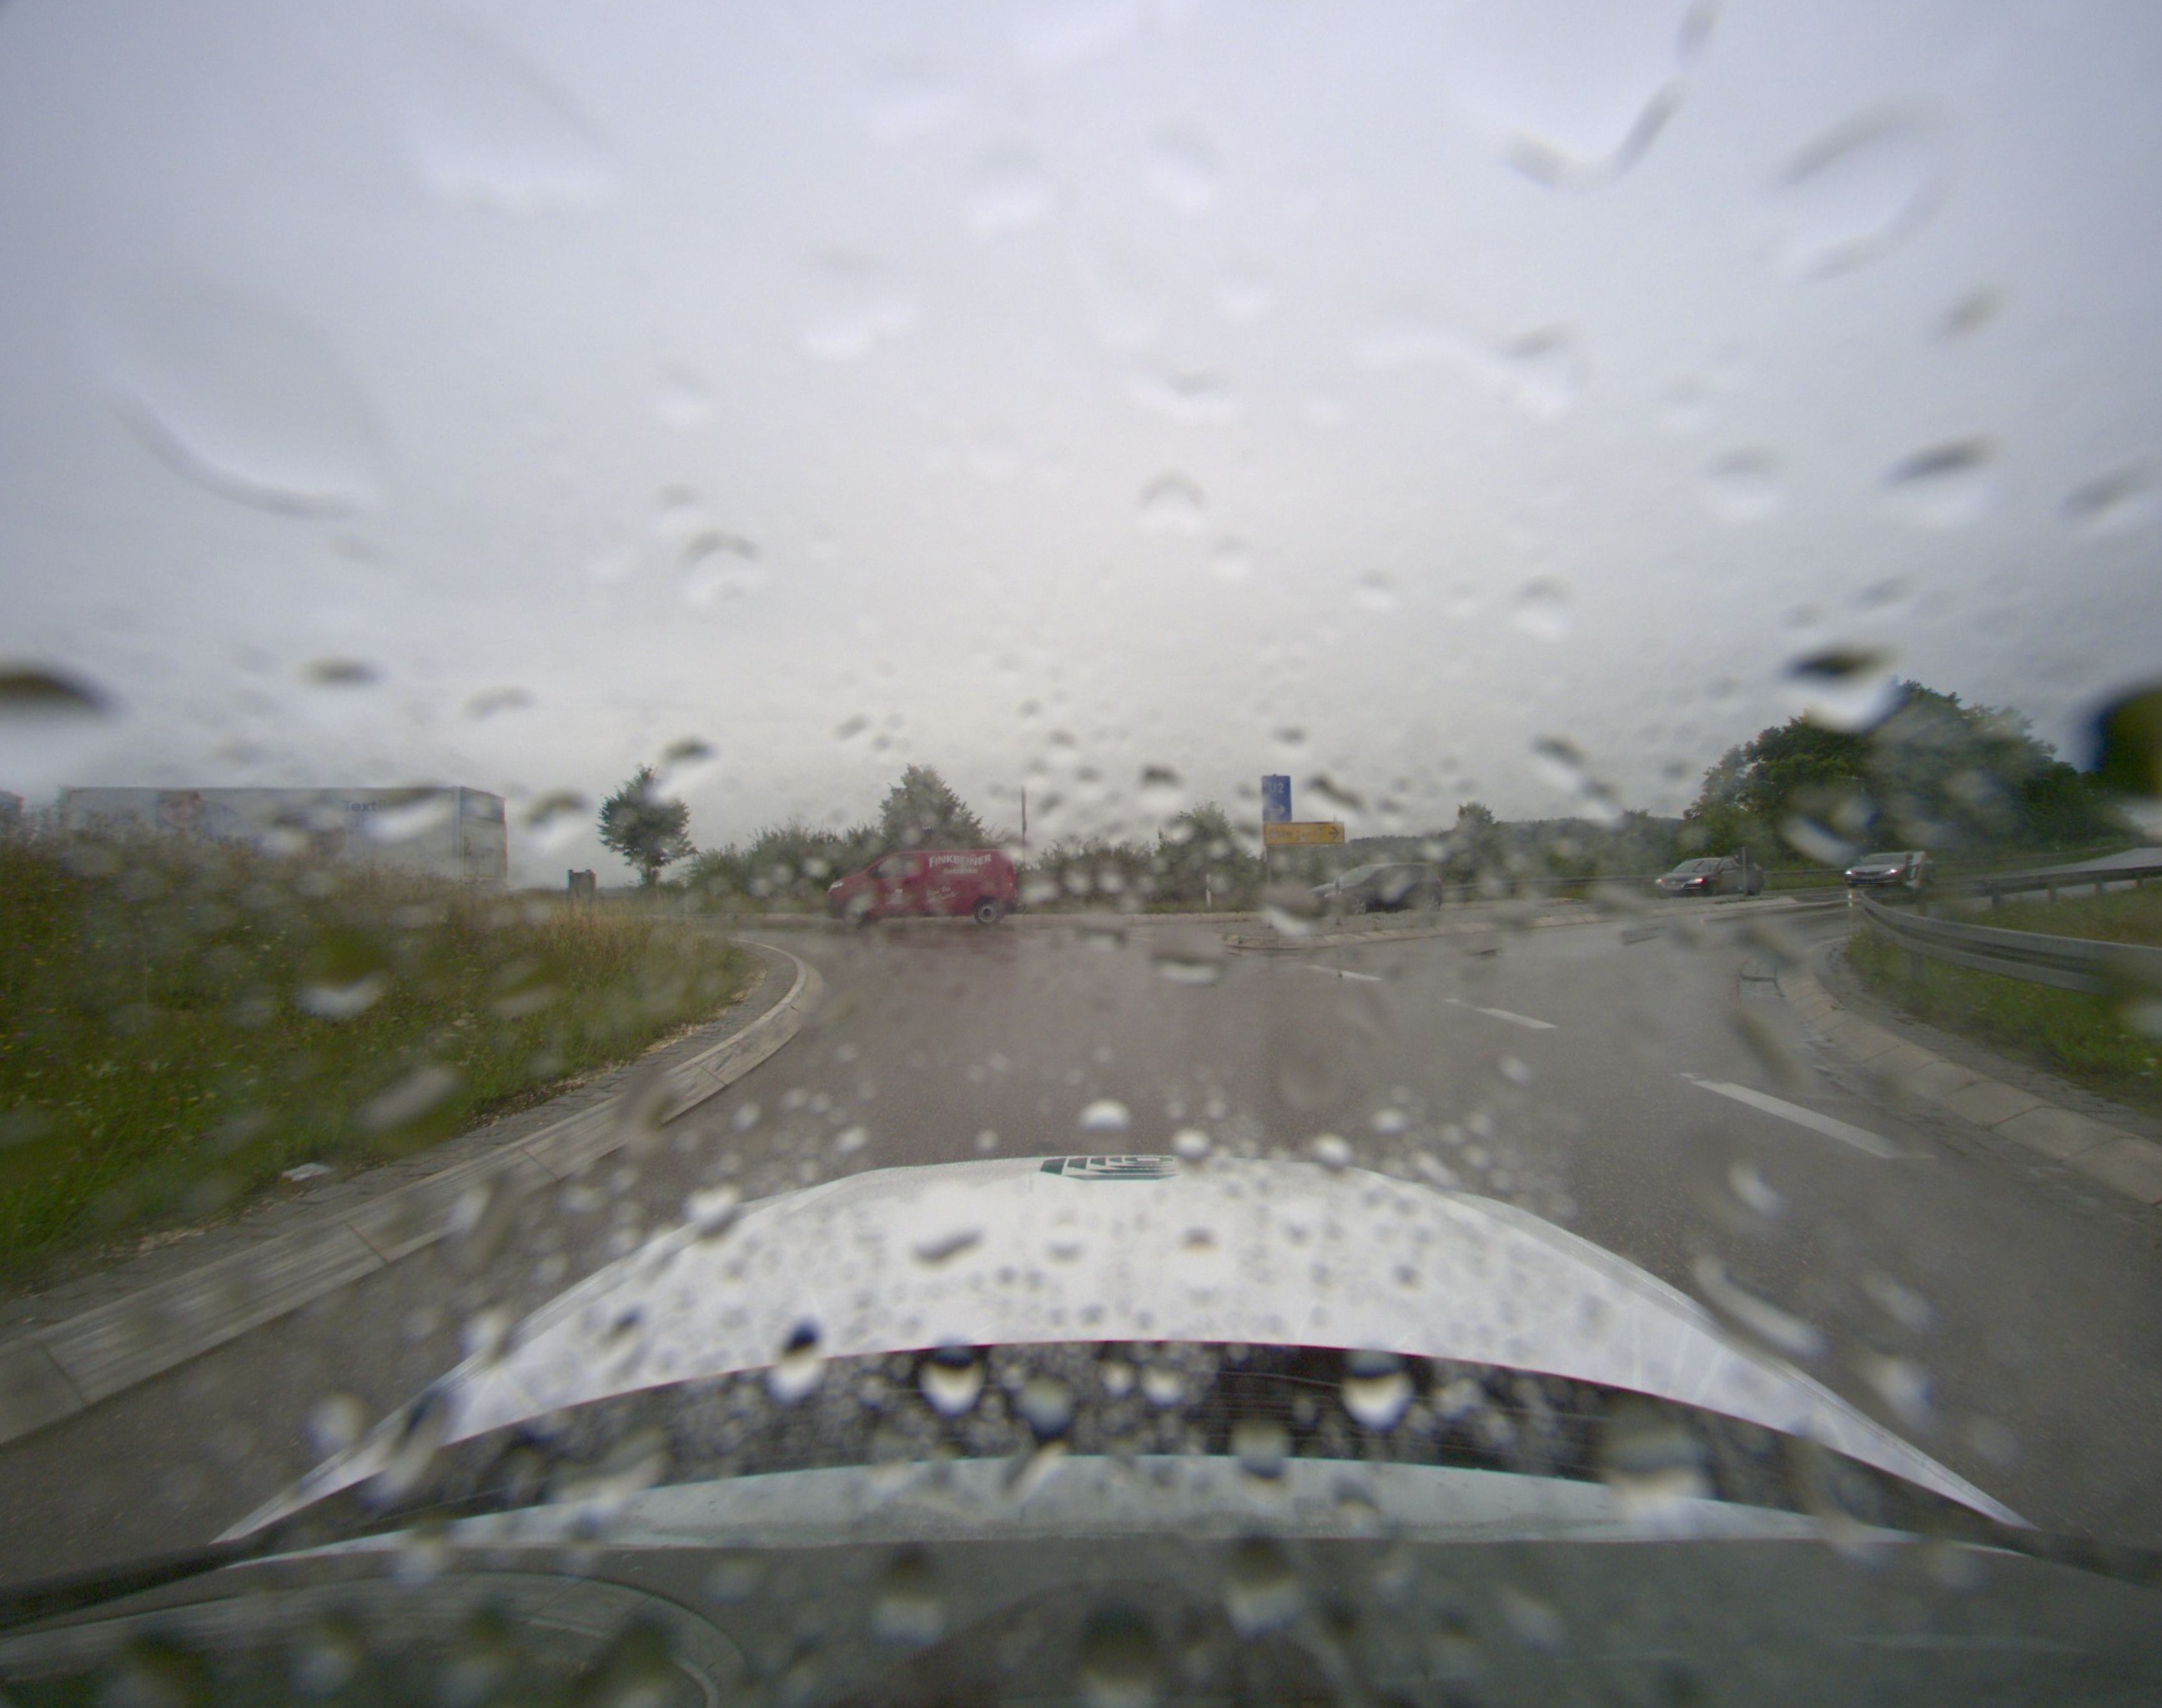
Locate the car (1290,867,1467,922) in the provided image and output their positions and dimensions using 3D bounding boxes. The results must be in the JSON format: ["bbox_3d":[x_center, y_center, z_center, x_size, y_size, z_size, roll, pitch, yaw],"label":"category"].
[{"bbox_3d":[8.244,1.061,22.577,4.504,1.421,1.861,0,-1,-21],"label":"car"}]

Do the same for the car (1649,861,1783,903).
[{"bbox_3d":[22.333,0.960,28.617,4.512,1.371,1.933,0,-1,-26],"label":"car"}]

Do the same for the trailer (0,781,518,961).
[{"bbox_3d":[-19.736,0.315,19.628,9.695,3.819,2.828,-1,-1,-14],"label":"trailer"}]

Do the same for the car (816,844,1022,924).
[{"bbox_3d":[-4.020,0.748,20.940,4.954,1.870,1.996,-1,-1,-5],"label":"car"}]

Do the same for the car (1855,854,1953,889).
[{"bbox_3d":[35.538,0.729,35.150,4.514,1.421,1.748,0,-1,-28],"label":"car"}]

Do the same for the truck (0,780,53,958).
[{"bbox_3d":[-26.835,0.390,16.060,7.729,3.819,2.775,-1,-1,-41],"label":"truck"}]
